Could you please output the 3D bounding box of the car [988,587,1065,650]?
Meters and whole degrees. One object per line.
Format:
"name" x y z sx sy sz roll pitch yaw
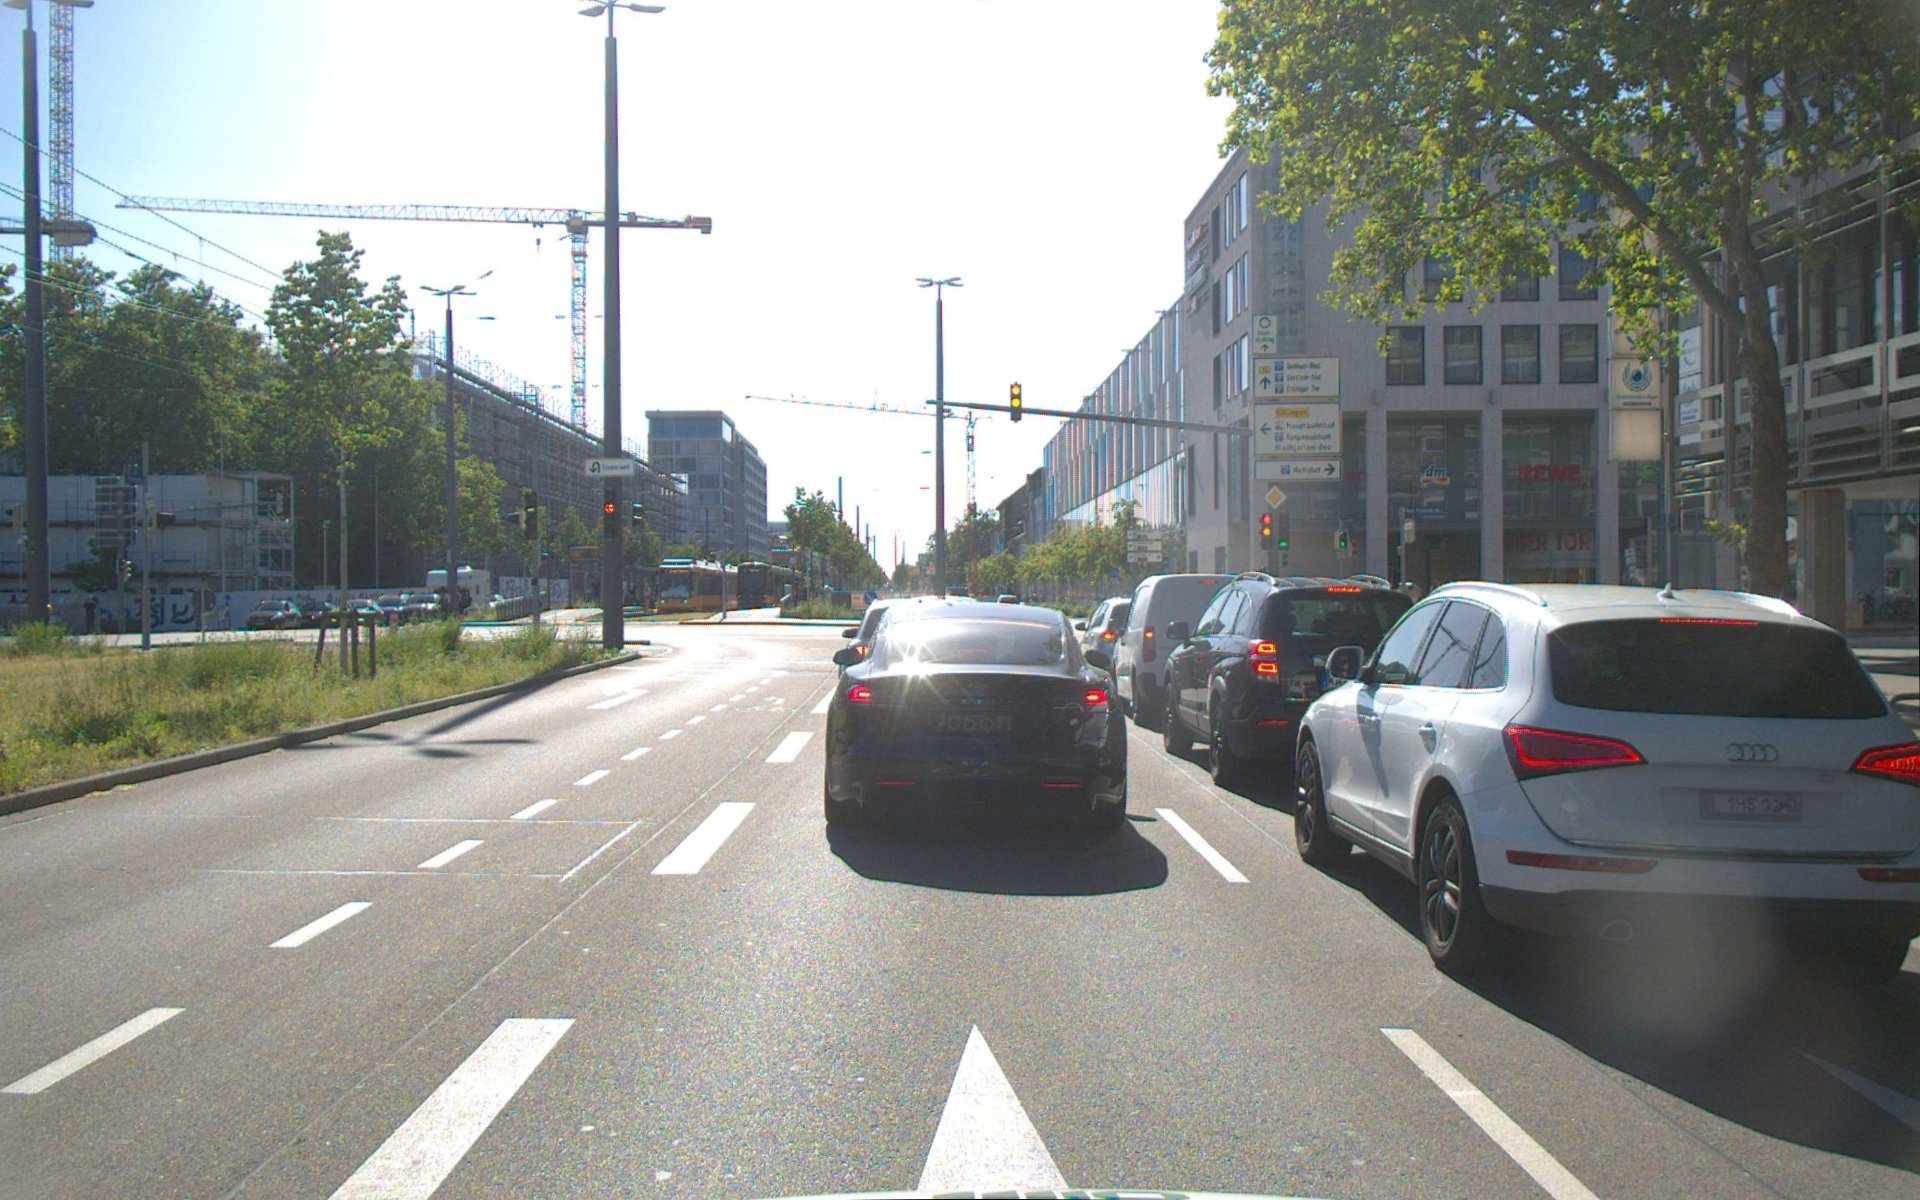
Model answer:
"car" 1.598 0.408 40.676 1.686 1.456 4.186 0 1 -1

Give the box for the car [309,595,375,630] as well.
"car" -30.475 0.610 81.680 1.800 1.641 3.894 2 -1 -2

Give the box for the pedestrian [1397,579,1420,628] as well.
"pedestrian" 13.630 0.114 50.313 0.550 1.466 0.632 1 -1 6

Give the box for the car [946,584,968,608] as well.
"car" -0.261 -0.361 152.944 1.953 2.049 3.999 2 -1 -1

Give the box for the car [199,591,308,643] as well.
"car" -17.405 0.428 40.860 1.348 1.199 3.219 2 -1 -2

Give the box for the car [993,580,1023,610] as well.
"car" 3.436 -0.352 119.976 1.953 2.049 3.999 2 -1 -1

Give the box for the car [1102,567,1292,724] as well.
"car" 2.939 0.505 21.346 1.687 1.814 4.184 0 1 -3

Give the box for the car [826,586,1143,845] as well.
"car" 0.083 0.659 11.761 1.873 1.512 4.008 0 1 -2

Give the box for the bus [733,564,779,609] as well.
"bus" -14.592 -0.885 118.688 2.575 3.011 9.891 2 -1 -4

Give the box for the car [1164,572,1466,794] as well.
"car" 2.966 0.608 14.686 1.687 1.682 4.185 0 1 -1

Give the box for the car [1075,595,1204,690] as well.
"car" 2.942 0.653 27.872 1.686 1.456 4.186 0 1 -1

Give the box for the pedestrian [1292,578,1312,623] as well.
"pedestrian" 11.359 0.031 54.951 0.550 1.466 0.632 1 -1 6

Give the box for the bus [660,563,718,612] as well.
"bus" -16.697 -0.714 102.277 2.575 2.832 8.837 2 -1 -4

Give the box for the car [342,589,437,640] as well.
"car" -14.465 0.376 42.072 1.348 1.199 3.219 2 -1 -2

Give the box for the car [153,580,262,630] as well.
"car" -19.194 0.133 42.284 1.348 1.199 3.219 2 -1 -2

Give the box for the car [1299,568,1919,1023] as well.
"car" 2.910 0.689 8.087 1.686 1.646 4.186 0 1 0
